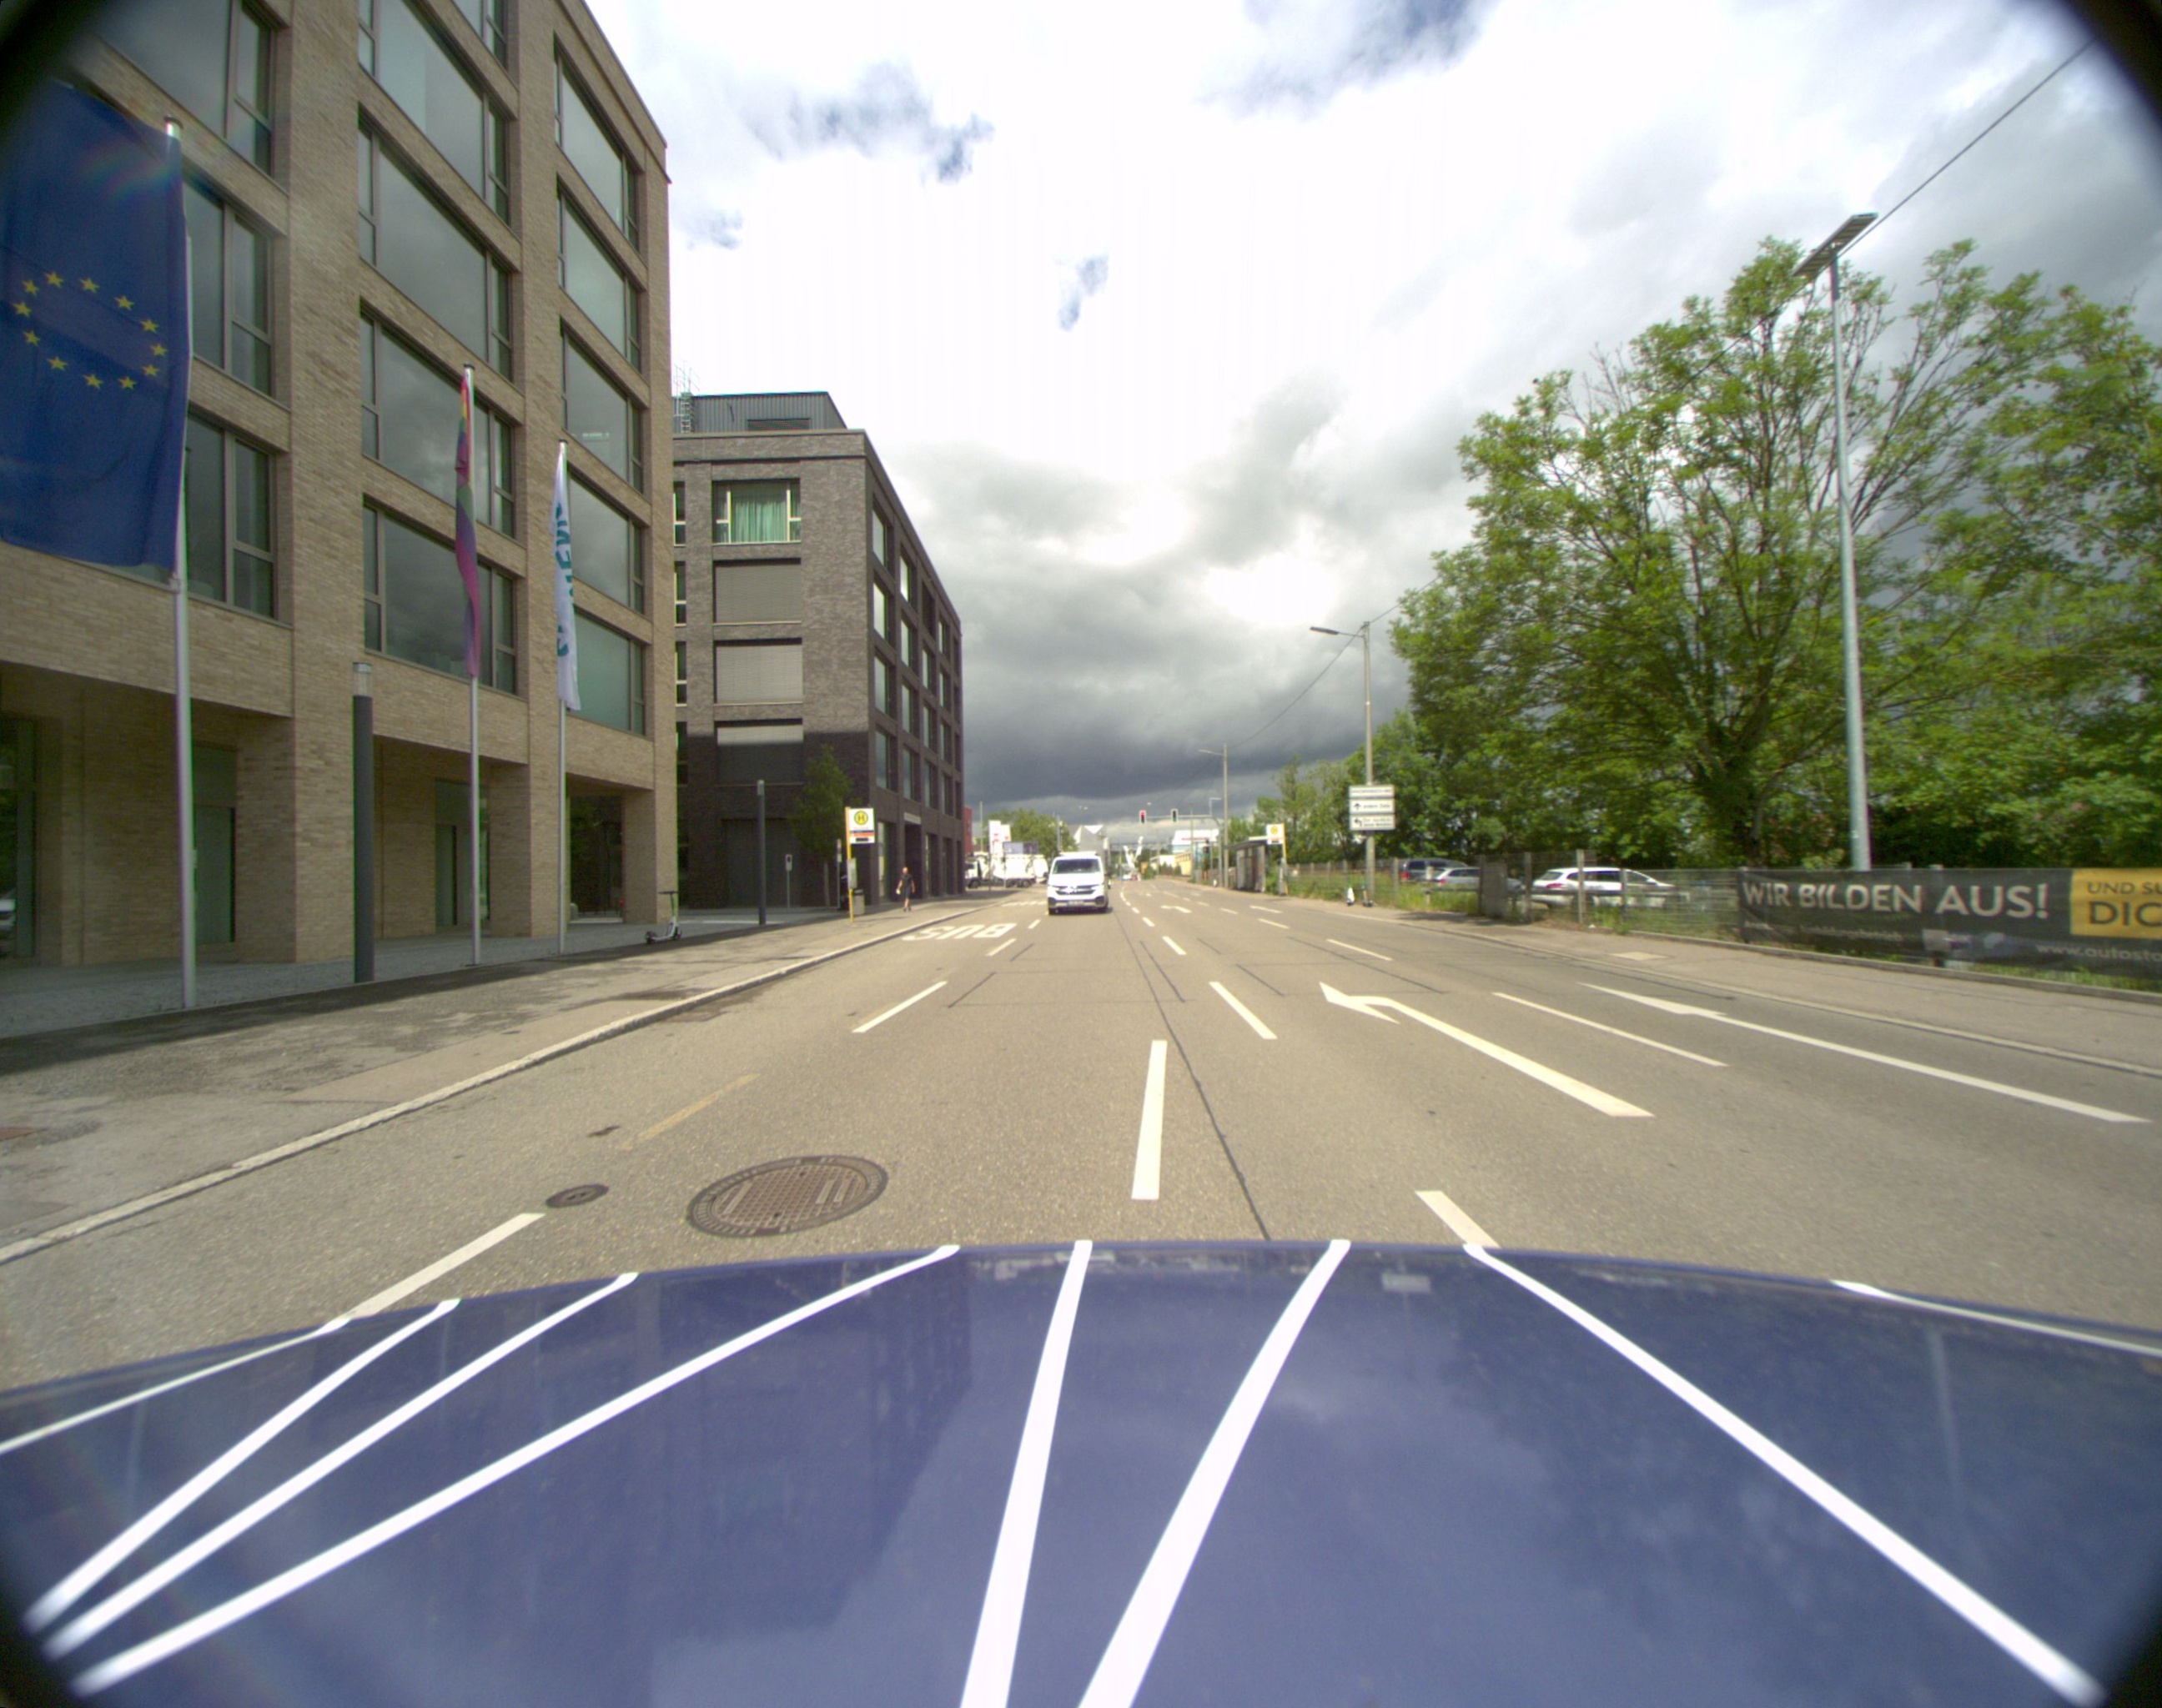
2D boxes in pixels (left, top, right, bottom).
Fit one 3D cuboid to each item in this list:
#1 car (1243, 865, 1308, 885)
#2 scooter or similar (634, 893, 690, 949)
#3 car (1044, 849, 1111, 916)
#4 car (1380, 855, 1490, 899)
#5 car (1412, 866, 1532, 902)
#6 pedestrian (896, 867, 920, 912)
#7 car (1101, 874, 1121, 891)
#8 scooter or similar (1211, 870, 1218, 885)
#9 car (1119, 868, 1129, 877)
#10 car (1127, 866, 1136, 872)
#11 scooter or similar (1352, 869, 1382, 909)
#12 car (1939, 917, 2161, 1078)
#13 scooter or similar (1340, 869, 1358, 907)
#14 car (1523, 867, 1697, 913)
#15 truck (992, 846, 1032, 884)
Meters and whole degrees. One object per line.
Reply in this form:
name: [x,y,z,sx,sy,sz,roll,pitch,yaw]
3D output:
car: [14.297,1.521,56.056,4.320,1.410,2.025,-1,-1,3]
scooter or similar: [-9.327,1.464,16.961,0.428,1.146,1.404,-1,0,1]
car: [-0.018,0.901,25.848,1.935,2.078,4.209,-1,0,4]
car: [17.017,1.087,36.628,4.289,2.002,2.140,-1,0,-6]
car: [17.012,1.279,33.166,4.289,1.478,1.909,-1,0,-7]
pedestrian: [-6.840,1.403,30.091,0.685,1.717,0.962,-2,-1,1]
car: [2.710,2.594,69.530,1.726,1.394,4.207,0,1,0]
scooter or similar: [11.180,1.967,63.488,0.424,1.203,1.127,-3,-1,6]
car: [8.780,3.721,154.963,1.870,1.781,4.209,-1,-1,1]
car: [11.266,3.394,169.150,1.801,1.368,4.226,0,-1,1]
scooter or similar: [9.435,1.141,25.144,0.536,1.258,1.472,-3,-1,7]
car: [12.707,1.493,8.458,4.042,1.378,1.928,-1,1,2]
scooter or similar: [9.383,1.179,26.644,0.535,1.254,1.474,-3,-1,19]
car: [17.156,1.148,24.827,4.285,1.373,1.867,-1,0,6]
truck: [-7.423,1.222,83.611,2.835,3.888,10.369,-1,-1,3]
